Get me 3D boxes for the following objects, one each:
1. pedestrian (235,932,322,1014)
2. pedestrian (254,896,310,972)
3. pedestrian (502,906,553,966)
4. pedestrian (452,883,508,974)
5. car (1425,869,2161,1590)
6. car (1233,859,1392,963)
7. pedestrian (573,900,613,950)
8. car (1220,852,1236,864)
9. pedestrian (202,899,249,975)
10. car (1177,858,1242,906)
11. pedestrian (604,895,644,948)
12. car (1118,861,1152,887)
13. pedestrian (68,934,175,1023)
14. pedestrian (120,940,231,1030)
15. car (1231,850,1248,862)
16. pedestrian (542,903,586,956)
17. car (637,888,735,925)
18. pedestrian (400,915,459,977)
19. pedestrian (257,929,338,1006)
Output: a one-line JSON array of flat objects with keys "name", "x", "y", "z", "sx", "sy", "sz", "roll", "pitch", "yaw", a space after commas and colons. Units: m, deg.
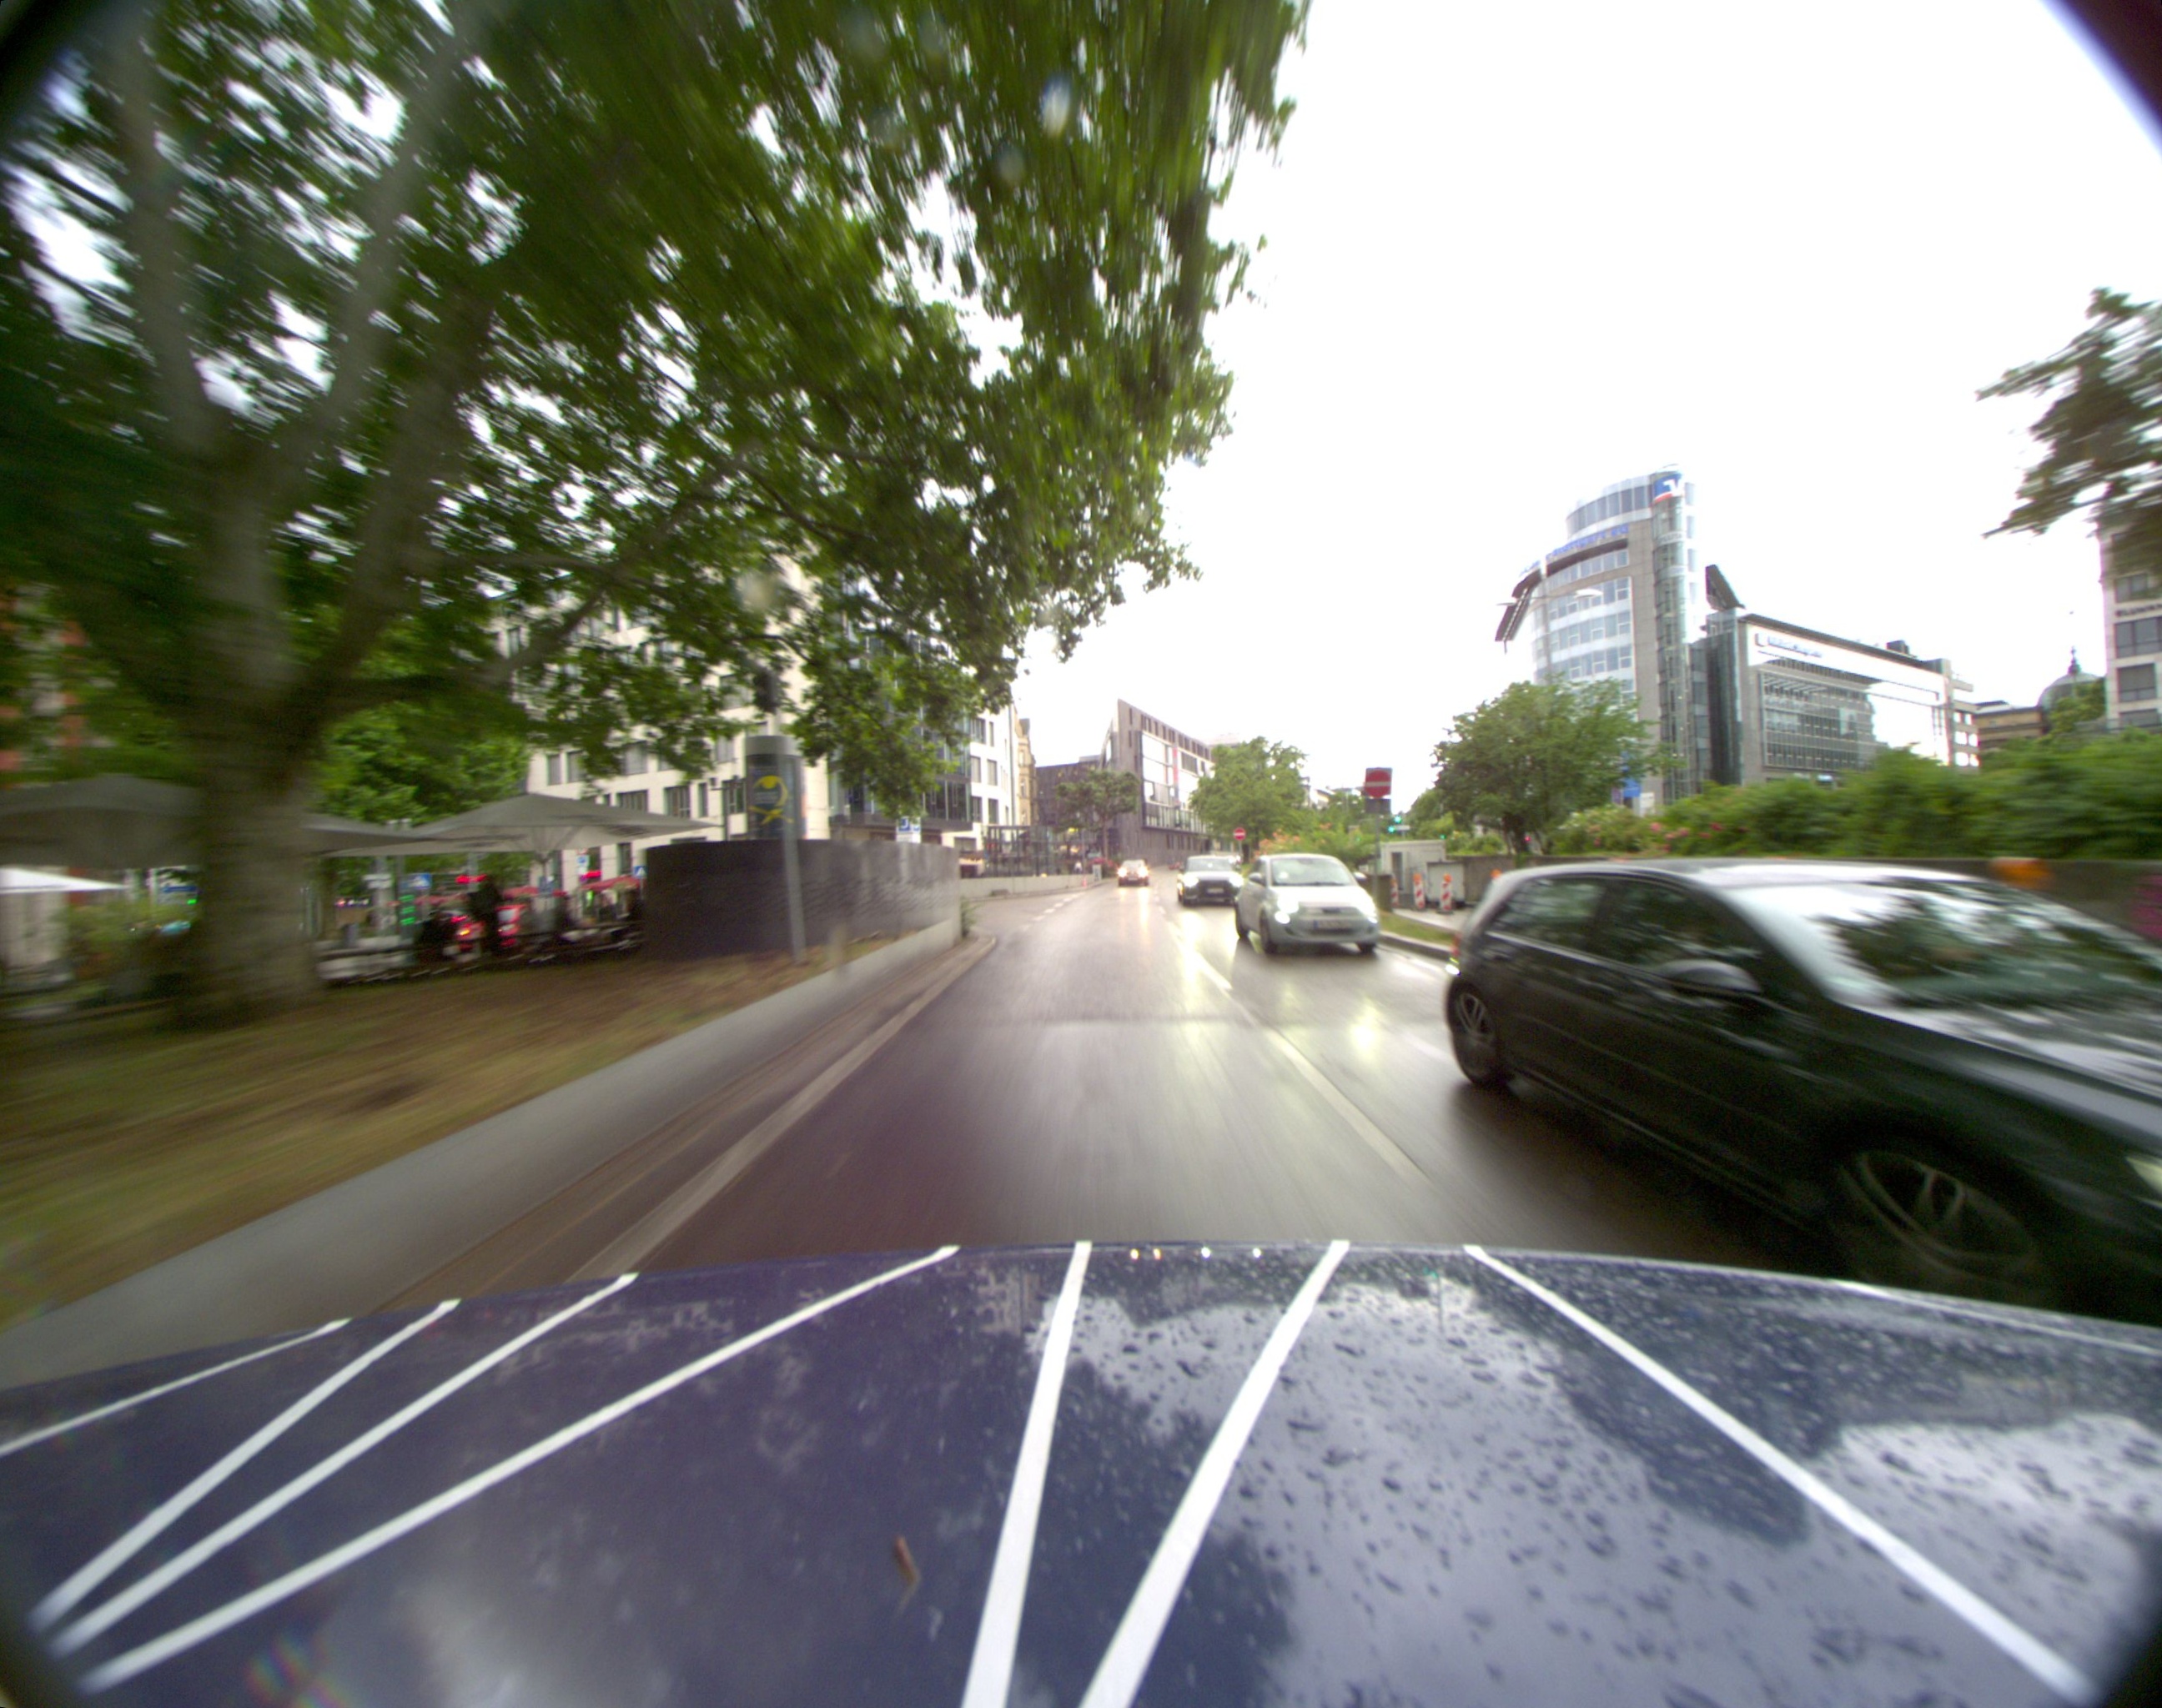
[{"name": "pedestrian", "x": -9.630, "y": 1.414, "z": 9.137, "sx": 0.575, "sy": 0.867, "sz": 0.508, "roll": -2, "pitch": 1, "yaw": -31}, {"name": "pedestrian", "x": -22.319, "y": 2.202, "z": 21.234, "sx": 0.944, "sy": 1.963, "sz": 0.997, "roll": -1, "pitch": 1, "yaw": 43}, {"name": "pedestrian", "x": -8.982, "y": 1.318, "z": 12.356, "sx": 0.575, "sy": 0.867, "sz": 0.741, "roll": -2, "pitch": 1, "yaw": -31}, {"name": "pedestrian", "x": -8.847, "y": 1.079, "z": 11.200, "sx": 0.531, "sy": 1.269, "sz": 0.403, "roll": -3, "pitch": 1, "yaw": -30}, {"name": "car", "x": 3.246, "y": 0.860, "z": 3.088, "sx": 1.789, "sy": 1.444, "sz": 4.123, "roll": -3, "pitch": 0, "yaw": 0}, {"name": "car", "x": 3.657, "y": 0.830, "z": 12.590, "sx": 1.612, "sy": 1.432, "sz": 3.494, "roll": -1, "pitch": 0, "yaw": 1}, {"name": "pedestrian", "x": -9.074, "y": 1.308, "z": 14.129, "sx": 0.575, "sy": 0.867, "sz": 0.508, "roll": -2, "pitch": 1, "yaw": -31}, {"name": "car", "x": 21.752, "y": 0.583, "z": 112.330, "sx": 1.996, "sy": 1.733, "sz": 3.914, "roll": -3, "pitch": 0, "yaw": 16}, {"name": "pedestrian", "x": -23.407, "y": 2.250, "z": 20.804, "sx": 0.944, "sy": 1.963, "sz": 0.753, "roll": -1, "pitch": 1, "yaw": 43}, {"name": "car", "x": 4.095, "y": 0.856, "z": 24.671, "sx": 1.716, "sy": 1.432, "sz": 3.495, "roll": -1, "pitch": 0, "yaw": 4}, {"name": "pedestrian", "x": -8.149, "y": 1.195, "z": 13.552, "sx": 0.575, "sy": 0.867, "sz": 0.508, "roll": -2, "pitch": 1, "yaw": -31}, {"name": "car", "x": 3.084, "y": 1.096, "z": 42.858, "sx": 1.716, "sy": 1.274, "sz": 3.496, "roll": -2, "pitch": 0, "yaw": 6}, {"name": "pedestrian", "x": -10.755, "y": 1.378, "z": 8.539, "sx": 0.575, "sy": 0.867, "sz": 0.508, "roll": -2, "pitch": 1, "yaw": -31}, {"name": "pedestrian", "x": -10.050, "y": 1.437, "z": 8.456, "sx": 0.627, "sy": 0.867, "sz": 0.508, "roll": -2, "pitch": 1, "yaw": -31}, {"name": "car", "x": 25.501, "y": 0.280, "z": 122.378, "sx": 1.996, "sy": 1.733, "sz": 3.915, "roll": -3, "pitch": 0, "yaw": 21}, {"name": "pedestrian", "x": -9.080, "y": 1.315, "z": 13.360, "sx": 0.575, "sy": 0.867, "sz": 0.508, "roll": -2, "pitch": 1, "yaw": -31}, {"name": "car", "x": -16.970, "y": 2.214, "z": 32.616, "sx": 3.878, "sy": 1.432, "sz": 1.655, "roll": -1, "pitch": 0, "yaw": 24}, {"name": "pedestrian", "x": -10.081, "y": 1.411, "z": 11.774, "sx": 0.575, "sy": 0.867, "sz": 0.565, "roll": -2, "pitch": 1, "yaw": -31}, {"name": "pedestrian", "x": -9.941, "y": 1.423, "z": 9.657, "sx": 0.575, "sy": 0.867, "sz": 0.508, "roll": -2, "pitch": 1, "yaw": -31}]
